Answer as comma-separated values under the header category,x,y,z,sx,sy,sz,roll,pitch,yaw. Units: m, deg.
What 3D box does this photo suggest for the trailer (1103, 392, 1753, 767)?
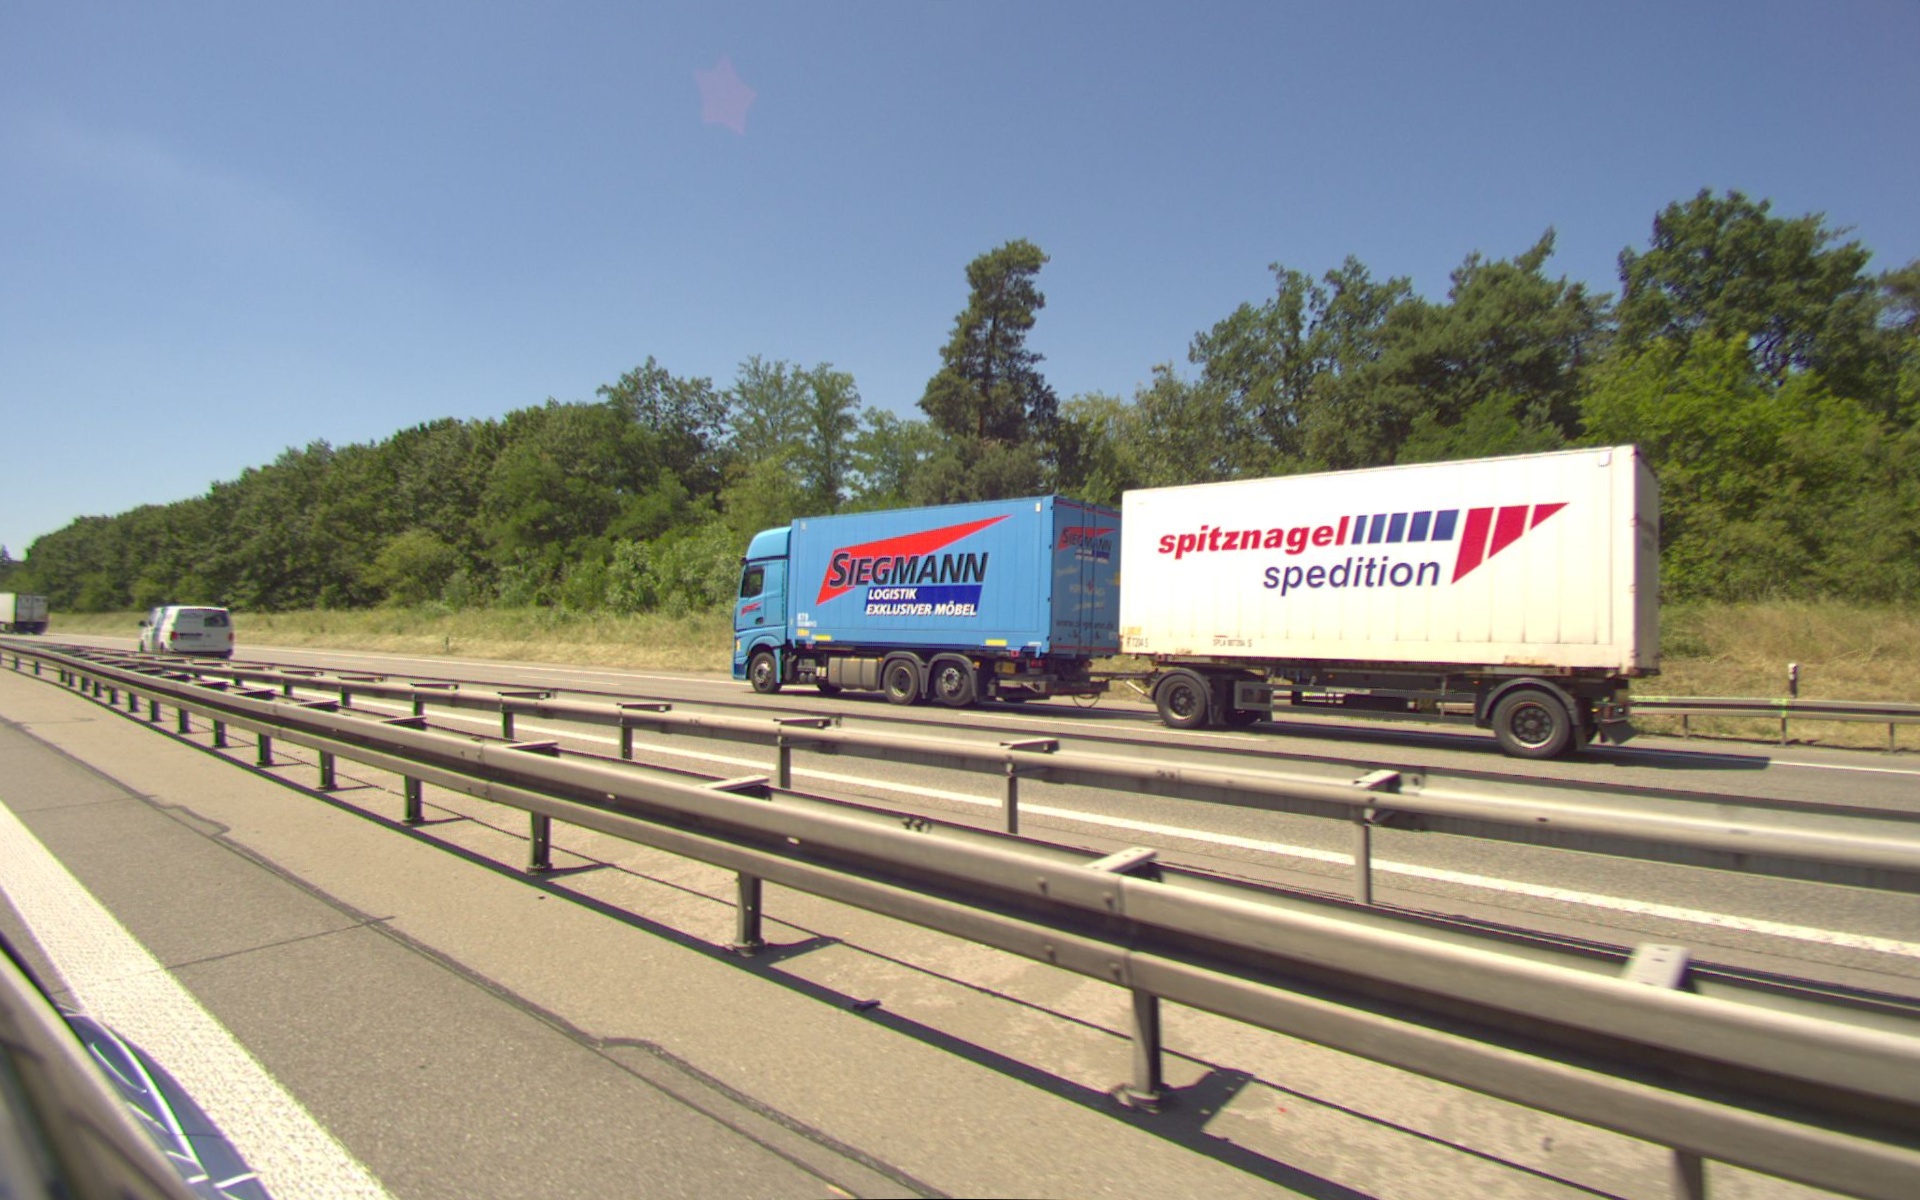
category,x,y,z,sx,sy,sz,roll,pitch,yaw
trailer,6.673,-0.147,15.653,8.631,4.315,3.026,-1,-2,41

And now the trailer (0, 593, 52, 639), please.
category,x,y,z,sx,sy,sz,roll,pitch,yaw
trailer,-96.031,1.668,102.961,13.597,4.216,3.494,-1,-4,41

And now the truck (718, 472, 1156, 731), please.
category,x,y,z,sx,sy,sz,roll,pitch,yaw
truck,-0.985,0.140,22.509,10.454,4.593,3.026,-1,-3,41

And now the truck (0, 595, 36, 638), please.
category,x,y,z,sx,sy,sz,roll,pitch,yaw
truck,-101.386,1.715,107.611,7.054,4.354,3.494,-1,-4,41

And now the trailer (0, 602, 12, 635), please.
category,x,y,z,sx,sy,sz,roll,pitch,yaw
trailer,-128.784,2.384,134.148,13.847,4.216,2.902,-1,-4,41

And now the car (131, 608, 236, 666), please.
category,x,y,z,sx,sy,sz,roll,pitch,yaw
car,-27.070,1.264,35.232,5.234,1.869,1.812,-1,-3,41
